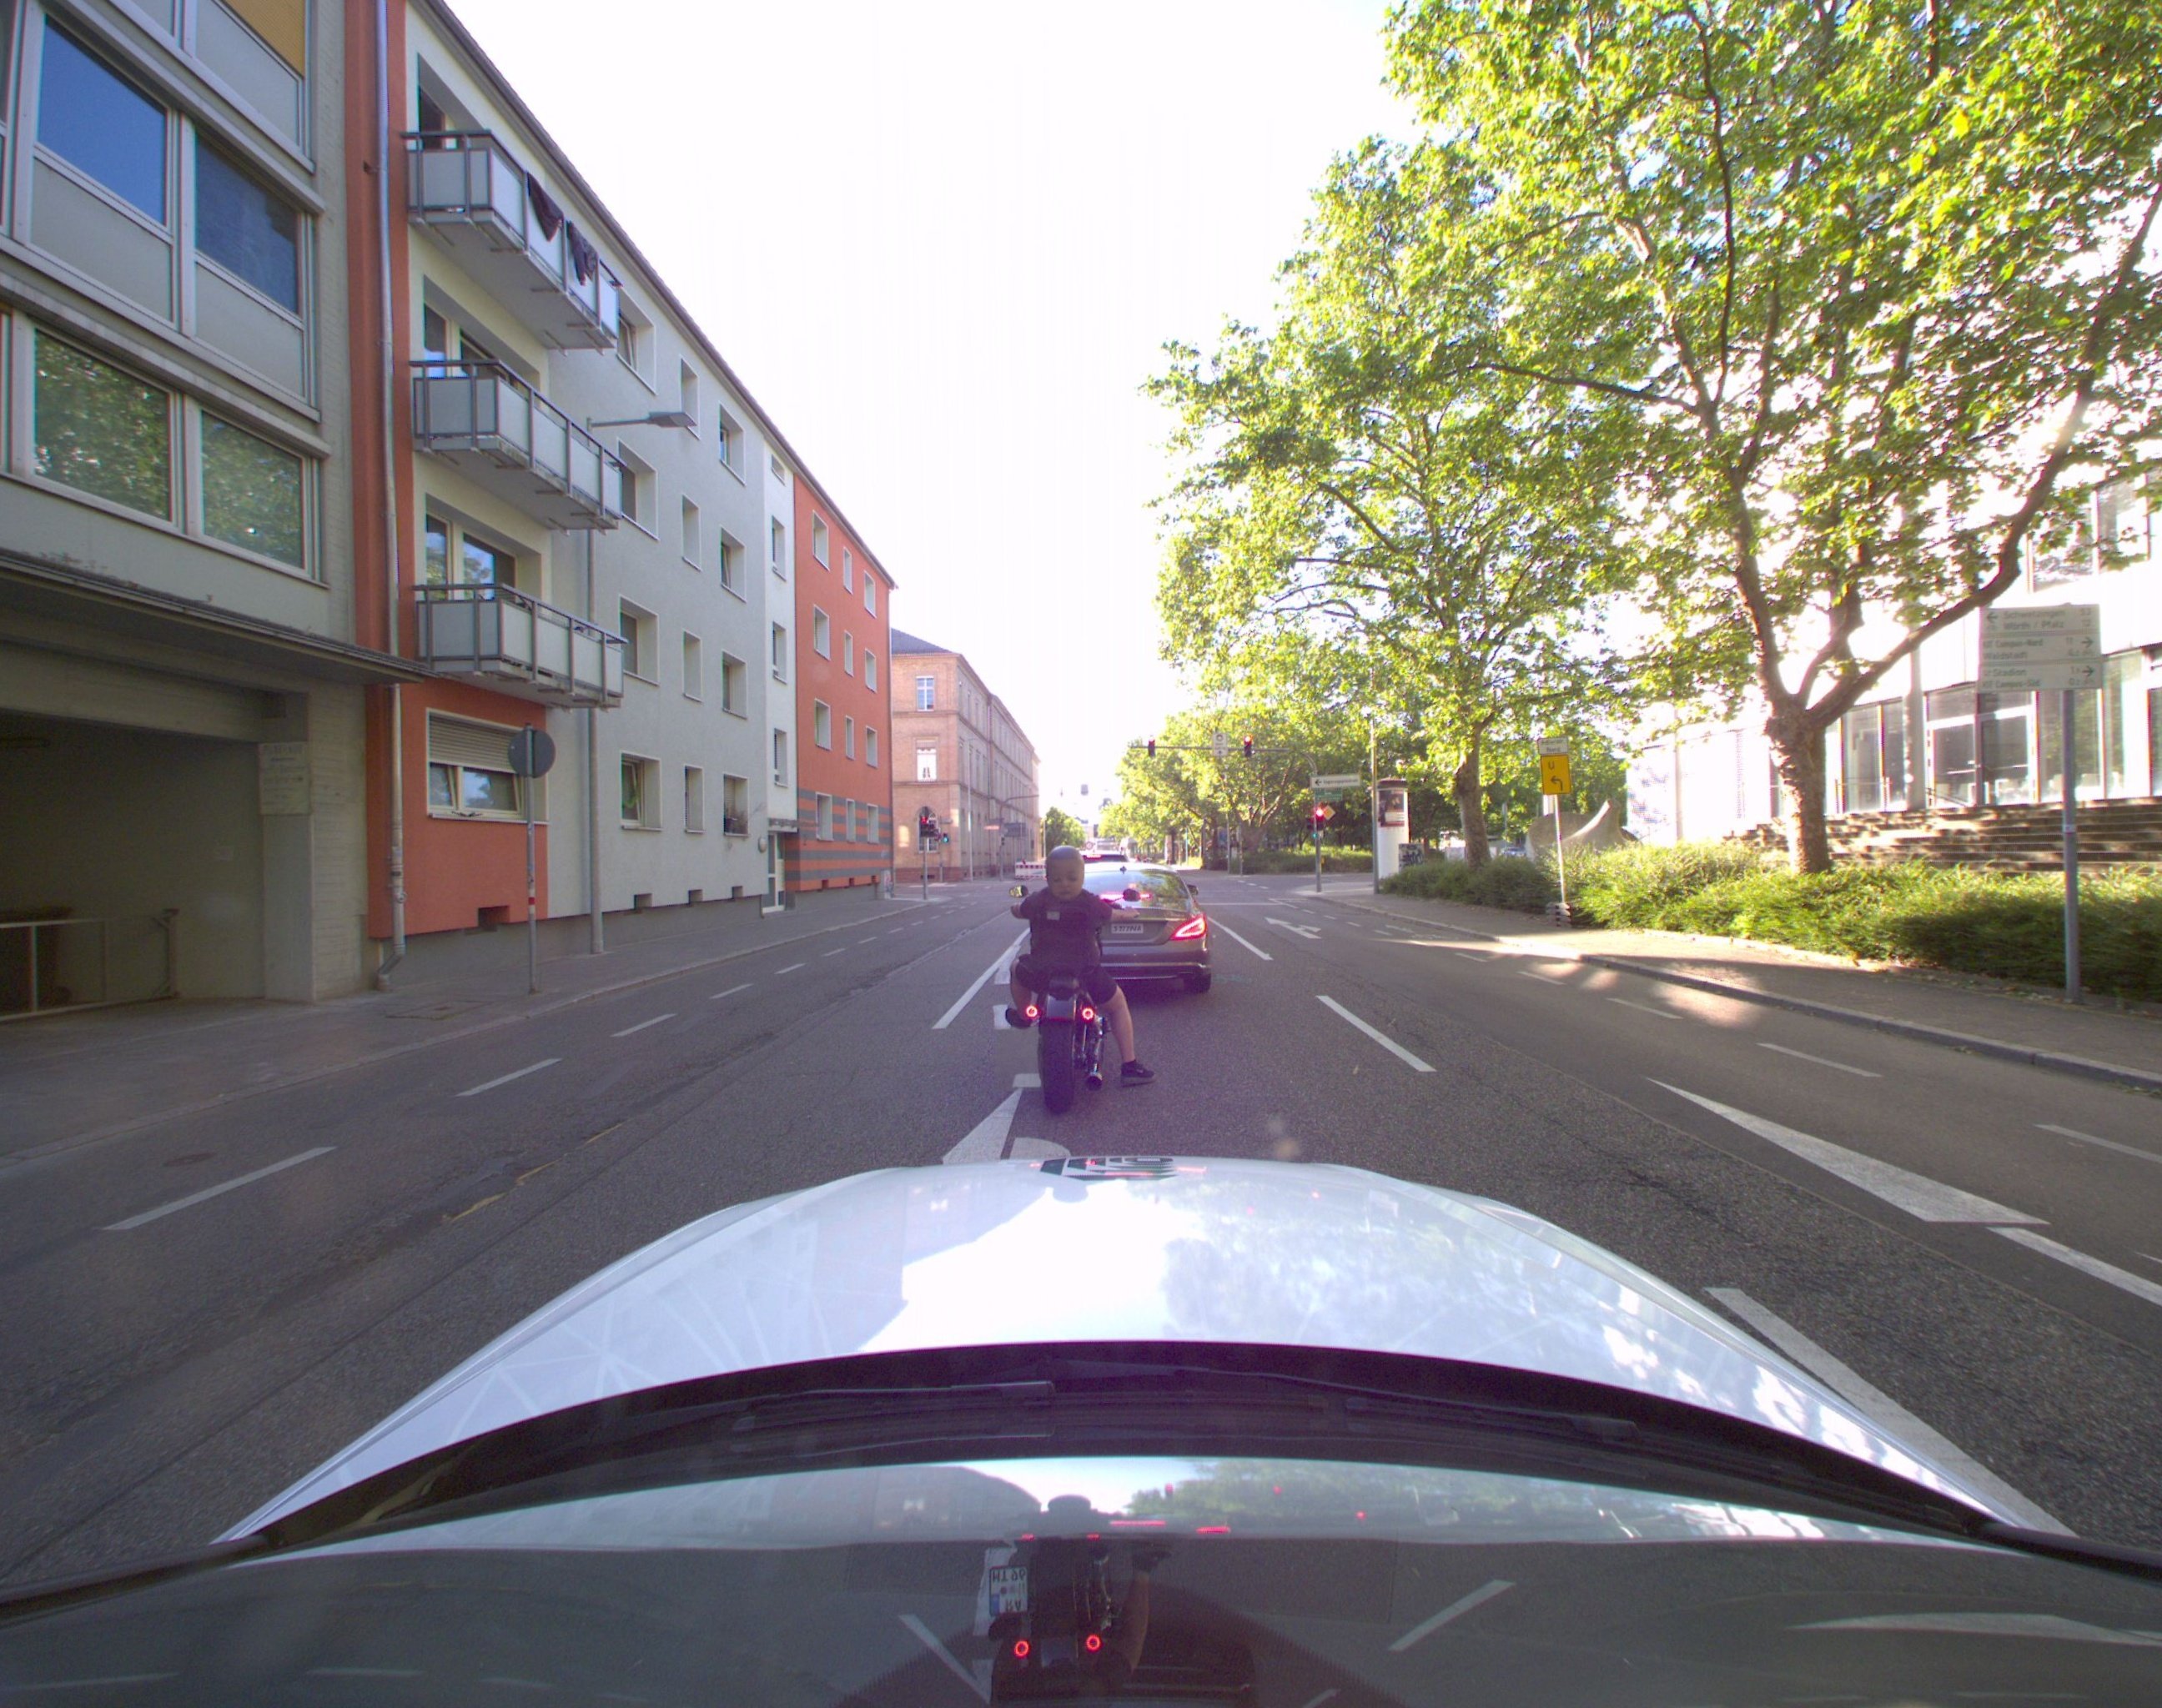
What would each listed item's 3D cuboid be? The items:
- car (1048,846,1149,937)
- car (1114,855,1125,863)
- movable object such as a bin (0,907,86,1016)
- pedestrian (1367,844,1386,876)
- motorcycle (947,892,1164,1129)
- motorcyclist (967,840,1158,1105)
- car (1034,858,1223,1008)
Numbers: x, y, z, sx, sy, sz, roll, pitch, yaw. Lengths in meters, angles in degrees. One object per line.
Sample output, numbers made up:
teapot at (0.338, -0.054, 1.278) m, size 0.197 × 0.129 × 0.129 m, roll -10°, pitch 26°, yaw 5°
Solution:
car at (0.381, 0.711, 17.070) m, size 1.856 × 1.678 × 4.001 m, roll 0°, pitch -1°, yaw 2°
car at (5.718, 0.754, 122.307) m, size 1.625 × 1.259 × 3.717 m, roll 0°, pitch -1°, yaw 2°
movable object such as a bin at (-11.284, 1.121, 8.650) m, size 0.533 × 1.079 × 0.723 m, roll 0°, pitch -1°, yaw 3°
pedestrian at (16.574, 0.311, 45.663) m, size 0.734 × 1.778 × 0.729 m, roll 0°, pitch -1°, yaw -3°
motorcycle at (-0.042, 0.913, 5.625) m, size 1.111 × 1.207 × 2.217 m, roll -1°, pitch -1°, yaw 8°
motorcyclist at (-0.070, 0.705, 5.406) m, size 1.093 × 1.566 × 1.074 m, roll -1°, pitch -1°, yaw 8°
car at (0.520, 0.780, 9.782) m, size 1.815 × 1.437 × 3.807 m, roll 0°, pitch -1°, yaw 2°
